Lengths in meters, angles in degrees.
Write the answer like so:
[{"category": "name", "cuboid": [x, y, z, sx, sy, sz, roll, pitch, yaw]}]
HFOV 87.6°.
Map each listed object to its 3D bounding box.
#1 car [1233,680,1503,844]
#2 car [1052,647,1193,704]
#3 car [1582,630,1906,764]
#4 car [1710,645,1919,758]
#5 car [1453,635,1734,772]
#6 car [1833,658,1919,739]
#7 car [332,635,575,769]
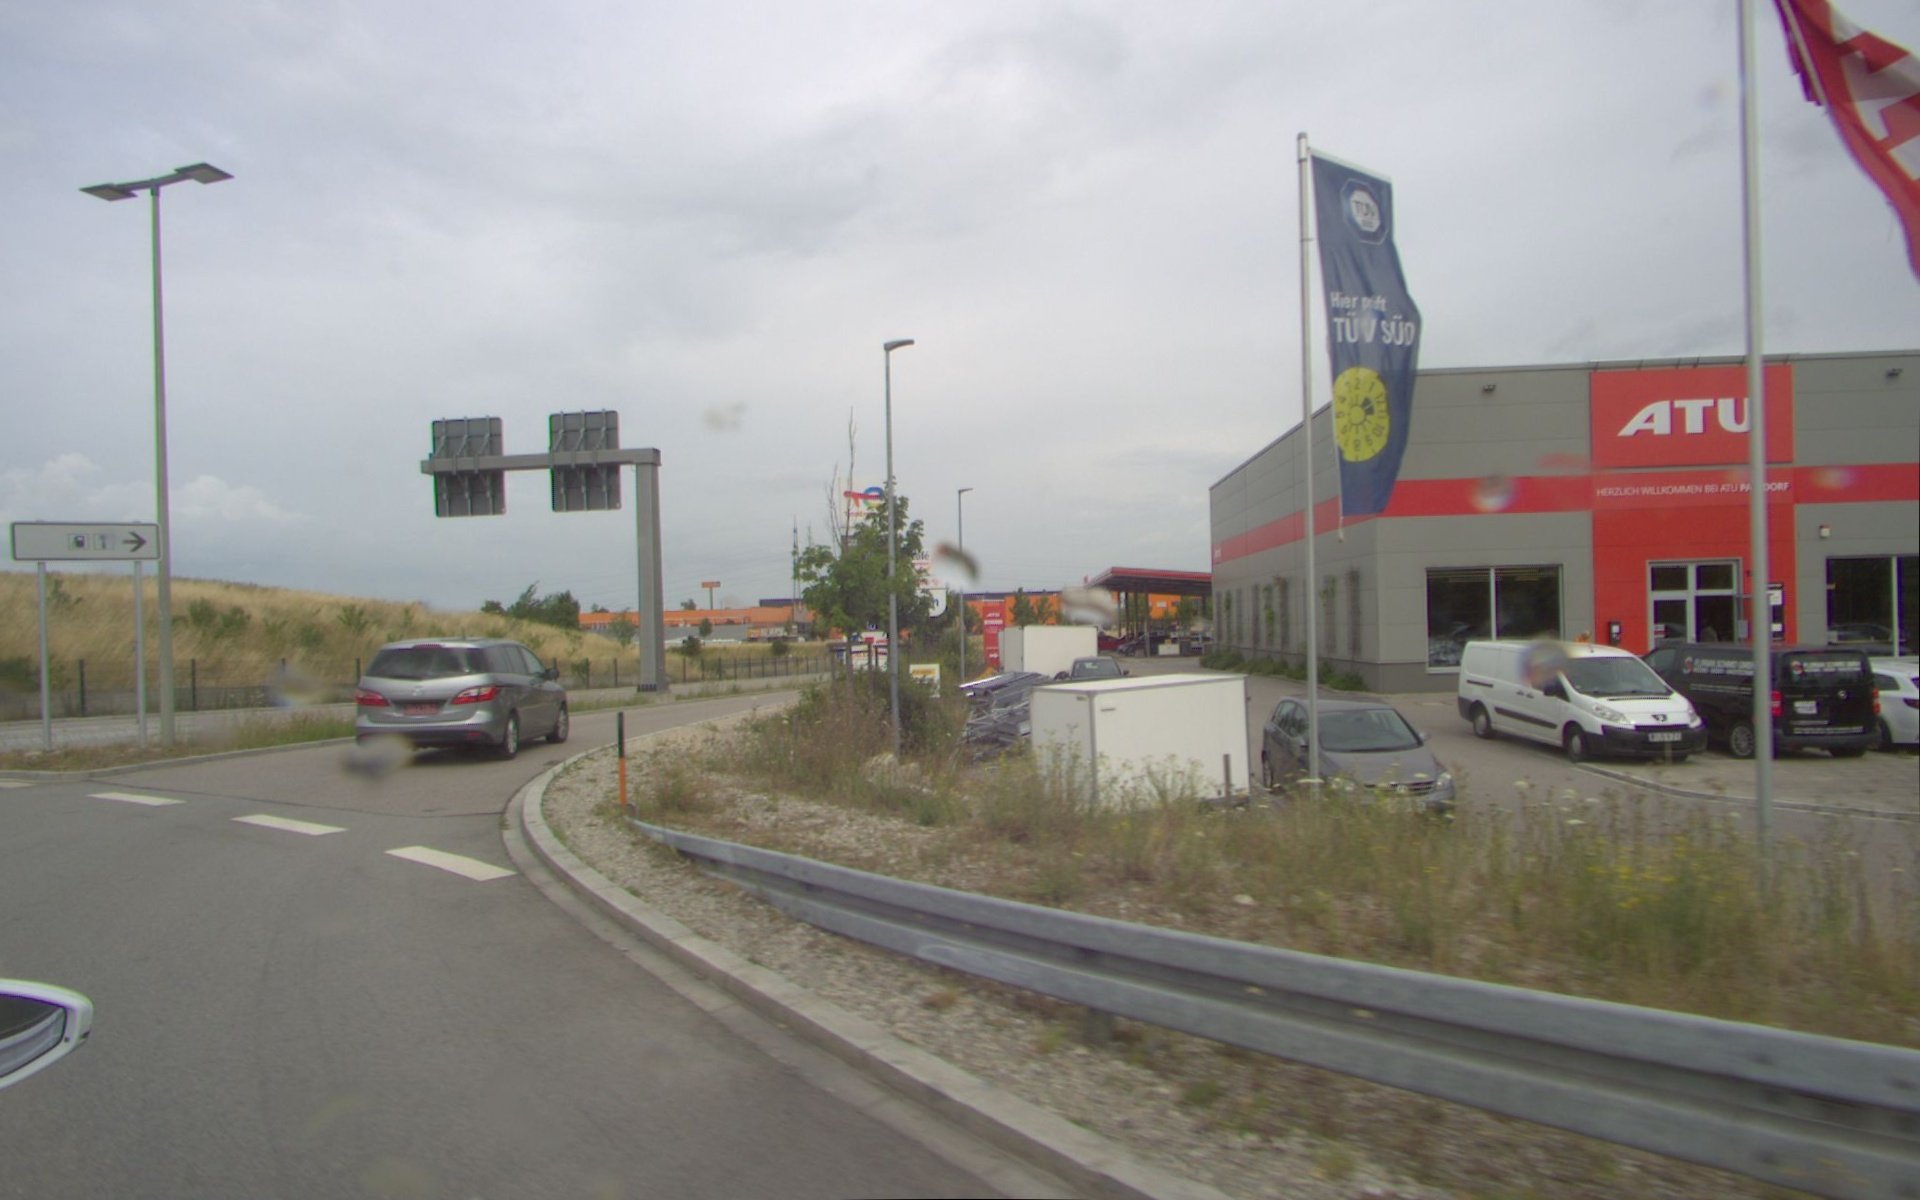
[{"category": "car", "cuboid": [5.560, 2.141, 14.445, 1.927, 1.697, 4.837, -1, -2, 0]}, {"category": "car", "cuboid": [4.795, 2.275, 29.848, 3.704, 1.592, 1.901, -6, -6, 44]}, {"category": "car", "cuboid": [13.903, 1.597, 18.281, 1.961, 1.998, 5.079, -1, -1, 0]}, {"category": "car", "cuboid": [16.638, 1.757, 18.641, 1.878, 1.663, 4.675, -1, 0, 1]}, {"category": "car", "cuboid": [11.274, 1.728, 18.398, 1.961, 2.074, 5.080, -1, -1, 0]}, {"category": "car", "cuboid": [18.923, 1.842, 18.691, 1.560, 1.517, 4.206, -1, -3, 0]}, {"category": "car", "cuboid": [-6.828, 1.326, 14.015, 1.881, 1.593, 4.001, 0, -3, -9]}]
